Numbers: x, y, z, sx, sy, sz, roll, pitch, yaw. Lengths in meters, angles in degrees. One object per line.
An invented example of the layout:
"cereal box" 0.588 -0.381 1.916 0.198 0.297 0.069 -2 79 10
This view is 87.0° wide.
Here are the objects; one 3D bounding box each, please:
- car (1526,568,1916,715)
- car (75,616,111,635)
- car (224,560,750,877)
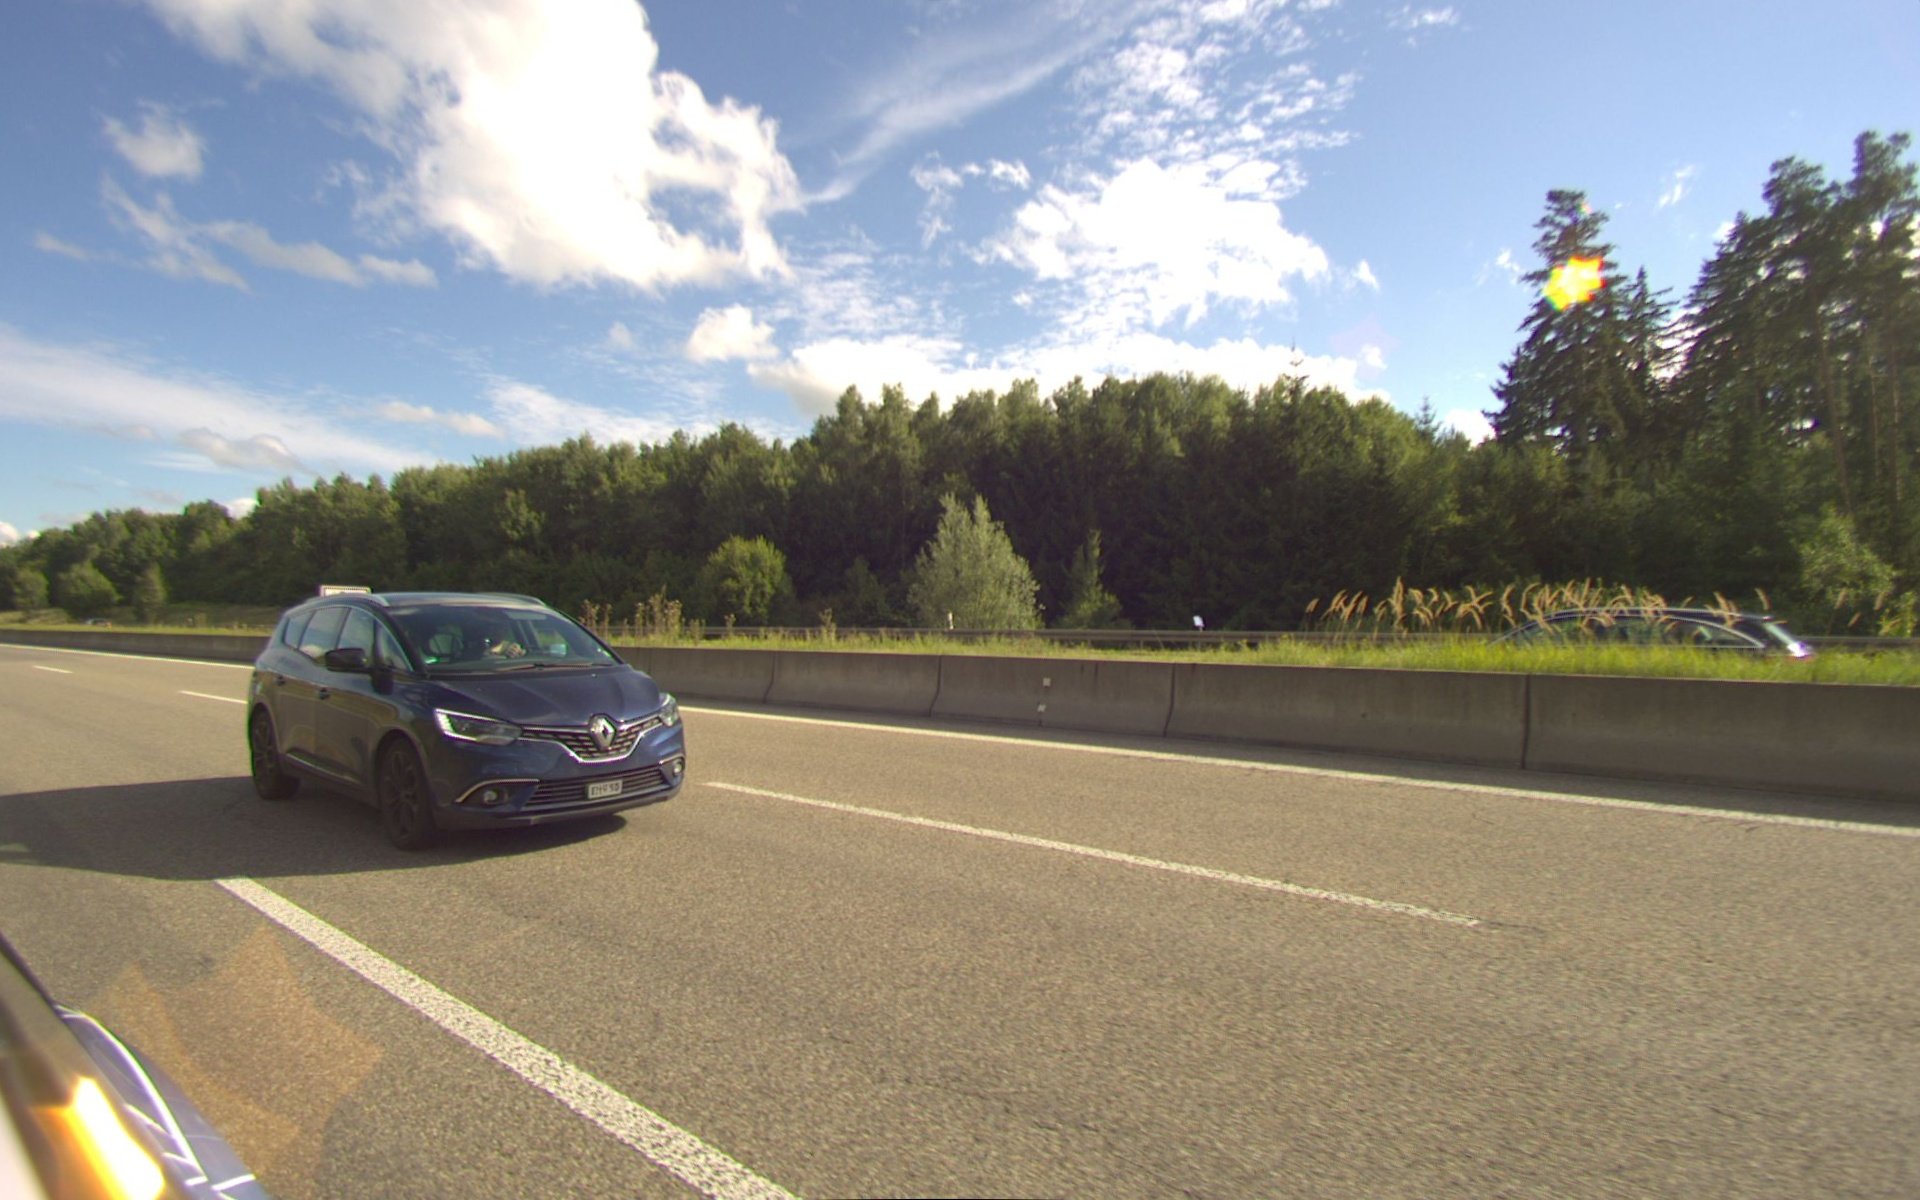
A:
"car" 9.144 0.456 12.368 3.572 1.518 1.869 -1 -1 41
"car" -82.732 2.411 96.525 4.046 1.760 1.974 -1 -1 40
"car" -3.808 0.665 7.732 4.527 1.719 1.973 -1 0 41
